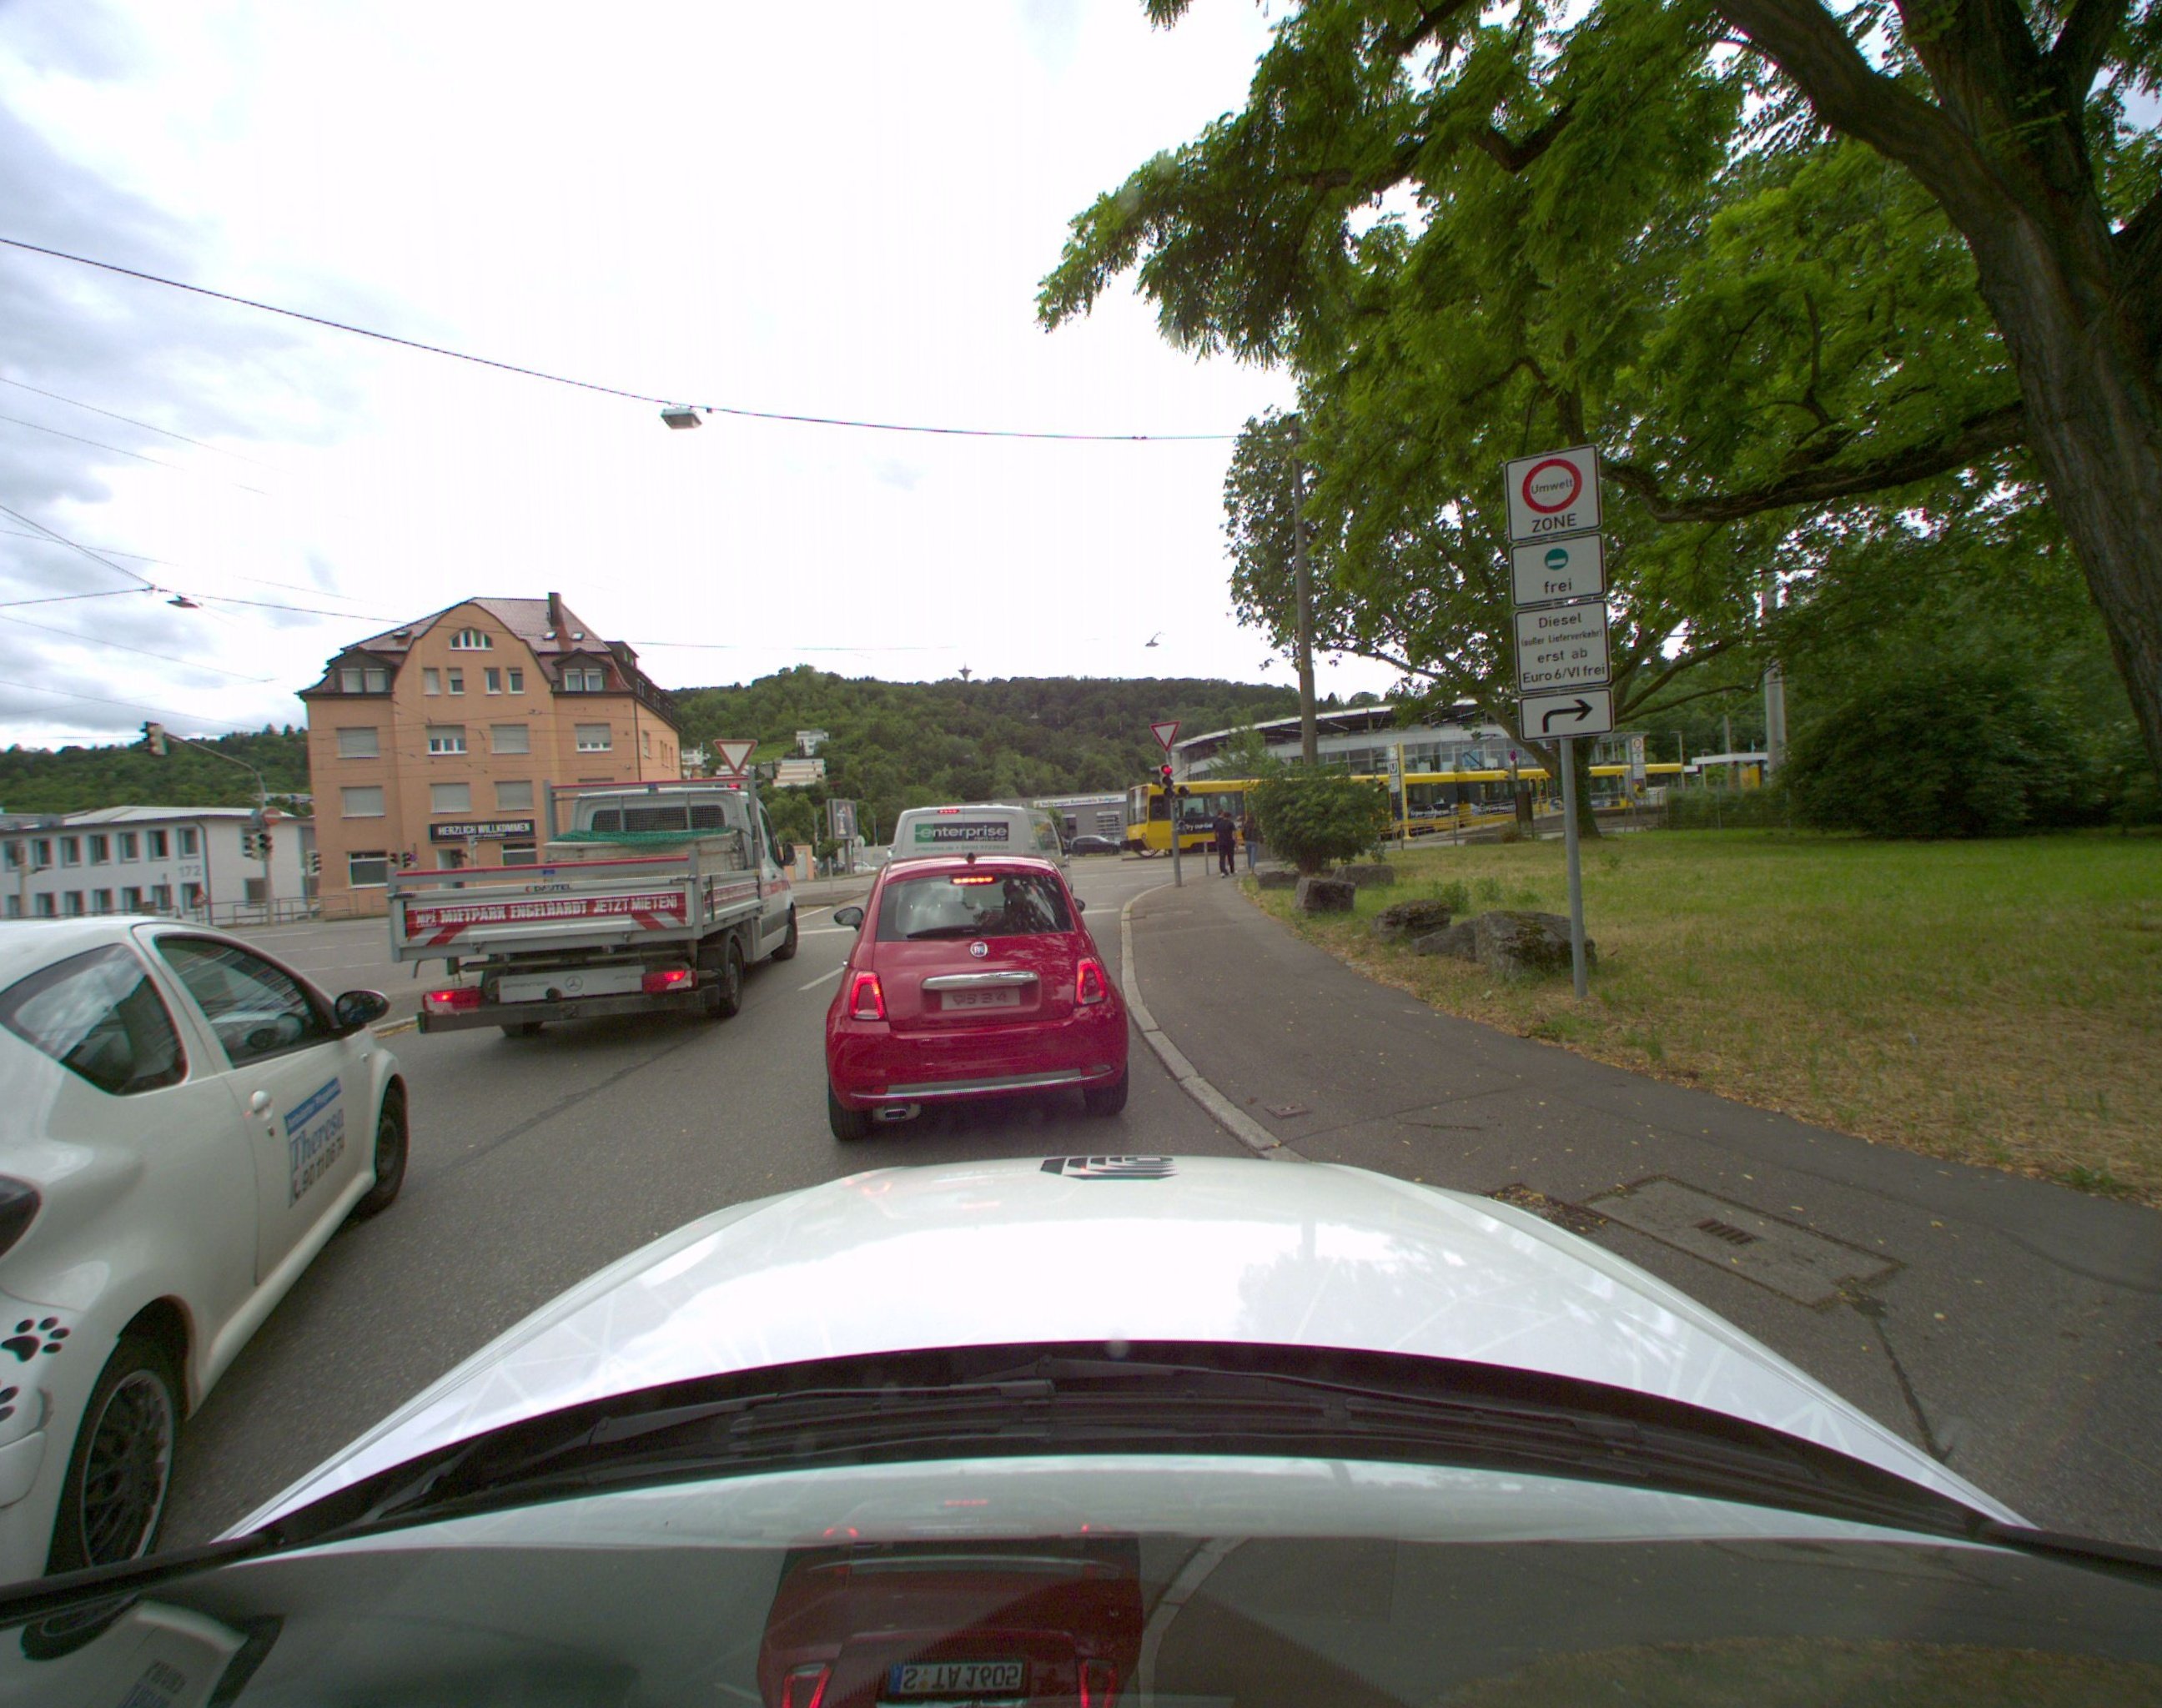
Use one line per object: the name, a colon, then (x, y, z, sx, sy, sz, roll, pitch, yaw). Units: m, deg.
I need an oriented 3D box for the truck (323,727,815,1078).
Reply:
truck: (-4.678, 0.297, 8.988, 2.423, 2.397, 6.006, -4, 1, -11)

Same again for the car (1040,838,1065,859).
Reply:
car: (-2.719, -0.593, 79.101, 1.985, 1.815, 4.004, -4, 1, 3)

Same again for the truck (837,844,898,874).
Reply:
truck: (-20.135, 0.439, 76.810, 5.211, 2.393, 1.983, -4, 1, -26)

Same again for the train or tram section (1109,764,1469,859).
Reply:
train or tram section: (10.963, -2.279, 41.174, 19.184, 3.665, 3.255, -4, 1, -21)

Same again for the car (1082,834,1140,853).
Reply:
car: (2.599, -0.888, 70.531, 4.636, 1.327, 1.783, -4, 1, 15)

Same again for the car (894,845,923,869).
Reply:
car: (-14.542, 0.250, 68.934, 1.858, 1.817, 4.392, -4, 1, -7)

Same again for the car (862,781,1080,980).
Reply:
car: (-1.248, 0.248, 11.533, 1.981, 2.106, 4.767, -4, 1, 4)

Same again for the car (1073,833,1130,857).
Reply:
car: (1.533, -0.695, 61.533, 3.837, 1.500, 1.784, -3, 1, 18)

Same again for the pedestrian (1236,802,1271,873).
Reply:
pedestrian: (4.421, -0.434, 20.861, 0.687, 1.739, 0.792, -4, 1, 18)

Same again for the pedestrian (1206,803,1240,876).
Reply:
pedestrian: (3.804, -0.395, 21.779, 0.688, 1.857, 0.791, -4, 1, 14)

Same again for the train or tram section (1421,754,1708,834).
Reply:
train or tram section: (28.844, -3.624, 48.018, 19.184, 3.665, 3.255, -4, 1, -21)

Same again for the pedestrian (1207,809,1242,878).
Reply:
pedestrian: (3.727, -0.288, 21.120, 0.688, 1.714, 0.792, -4, 1, 15)

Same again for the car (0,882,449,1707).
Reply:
car: (-3.314, 0.887, 2.458, 1.649, 1.432, 3.398, -5, 1, -30)

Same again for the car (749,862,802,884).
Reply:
car: (-26.784, 1.669, 71.546, 4.218, 1.533, 1.763, -4, 1, -20)

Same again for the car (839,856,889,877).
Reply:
car: (-19.586, 1.125, 73.628, 4.209, 1.533, 1.767, -4, 1, -14)

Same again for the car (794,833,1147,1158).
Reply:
car: (-0.771, 0.654, 5.668, 1.638, 1.456, 3.420, -3, 1, -9)
